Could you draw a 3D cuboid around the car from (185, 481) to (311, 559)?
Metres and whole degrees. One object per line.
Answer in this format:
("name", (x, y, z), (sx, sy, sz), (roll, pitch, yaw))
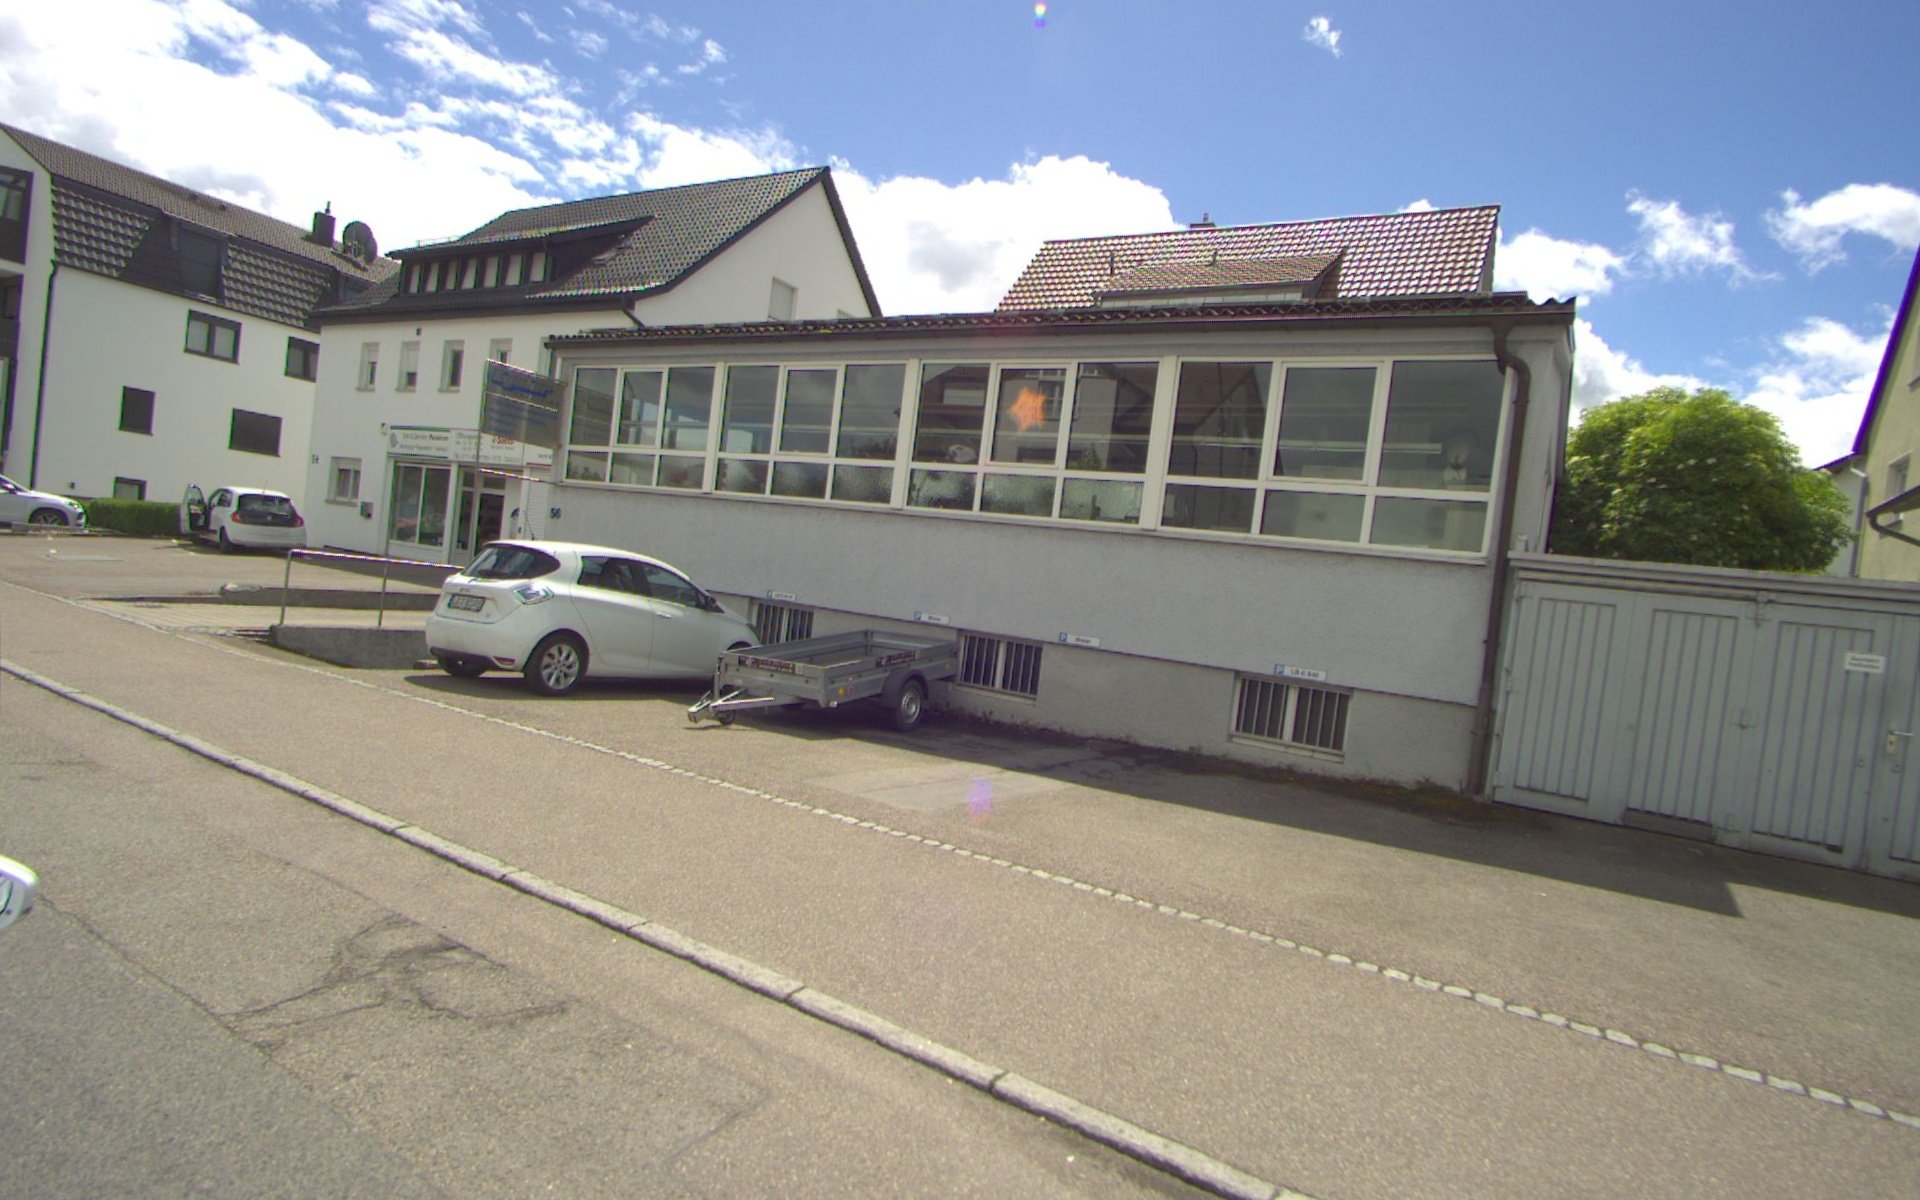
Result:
("car", (-17.428, -1.976, 24.559), (3.610, 1.540, 1.627), (9, 5, 40))

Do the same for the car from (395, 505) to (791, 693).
("car", (-3.956, 0.105, 11.502), (1.720, 1.627, 3.907), (7, -1, 31))

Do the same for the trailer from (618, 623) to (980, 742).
("trailer", (-1.470, 0.802, 10.530), (1.629, 0.818, 3.820), (7, 1, 31))

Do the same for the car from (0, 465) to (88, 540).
("car", (-23.721, -2.434, 23.891), (1.836, 1.677, 4.189), (7, 4, 32))
